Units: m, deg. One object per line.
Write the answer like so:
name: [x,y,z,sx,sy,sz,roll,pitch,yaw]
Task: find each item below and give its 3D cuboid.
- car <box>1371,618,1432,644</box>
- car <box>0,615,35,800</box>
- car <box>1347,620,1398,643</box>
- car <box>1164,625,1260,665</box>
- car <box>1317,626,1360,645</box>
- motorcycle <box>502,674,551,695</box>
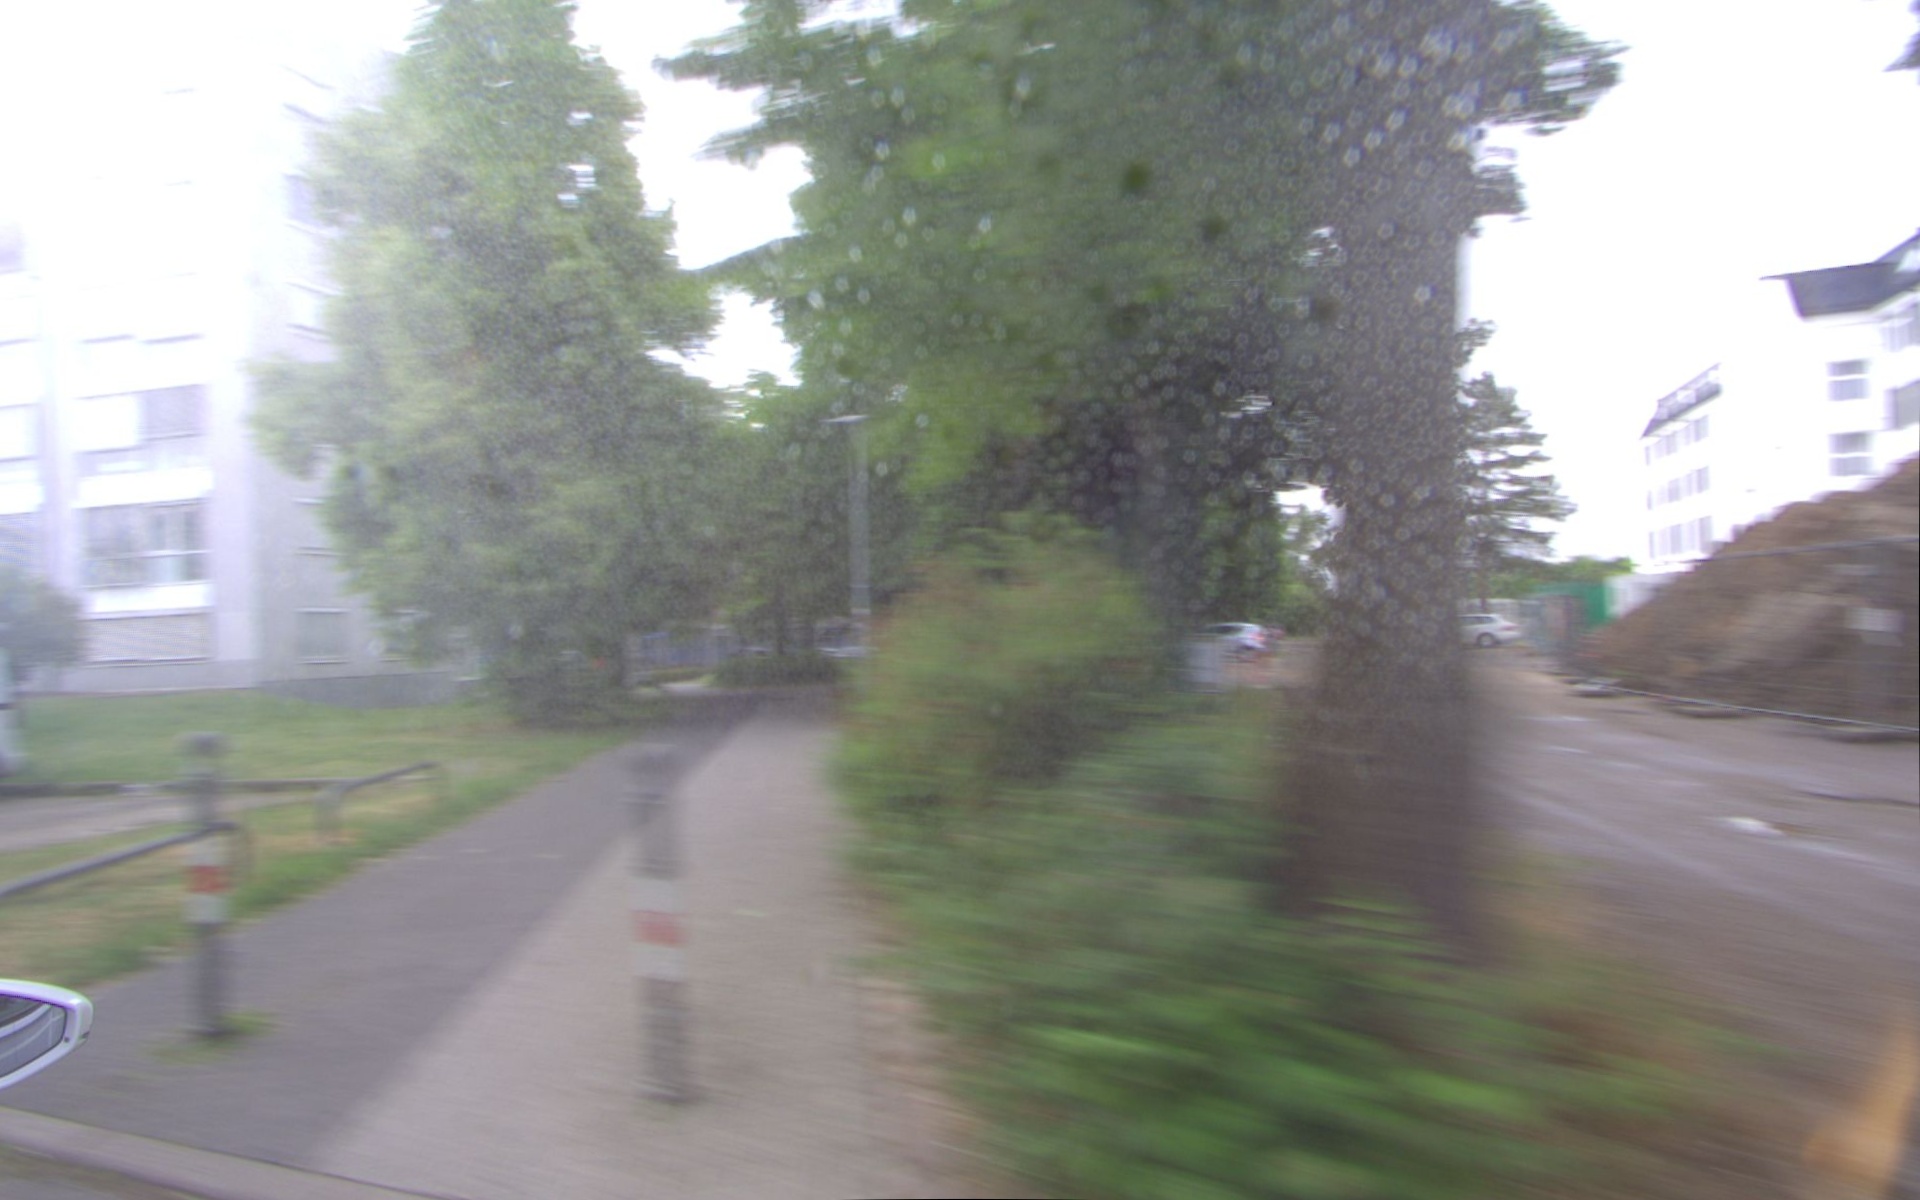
car: [32.966,2.297,74.937,3.929,1.805,1.997,-2,-2,18]
car: [-11.920,1.169,9.489,1.820,2.038,4.349,-3,-3,14]
car: [36.194,2.772,88.045,3.929,1.805,1.997,-2,-2,18]
car: [10.565,1.888,41.931,3.648,1.520,1.864,-2,-2,21]
car: [39.224,3.655,103.855,3.929,1.805,1.997,-2,-2,18]
motorcycle: [-21.612,4.184,49.993,0.944,0.892,3.195,-2,-2,2]
